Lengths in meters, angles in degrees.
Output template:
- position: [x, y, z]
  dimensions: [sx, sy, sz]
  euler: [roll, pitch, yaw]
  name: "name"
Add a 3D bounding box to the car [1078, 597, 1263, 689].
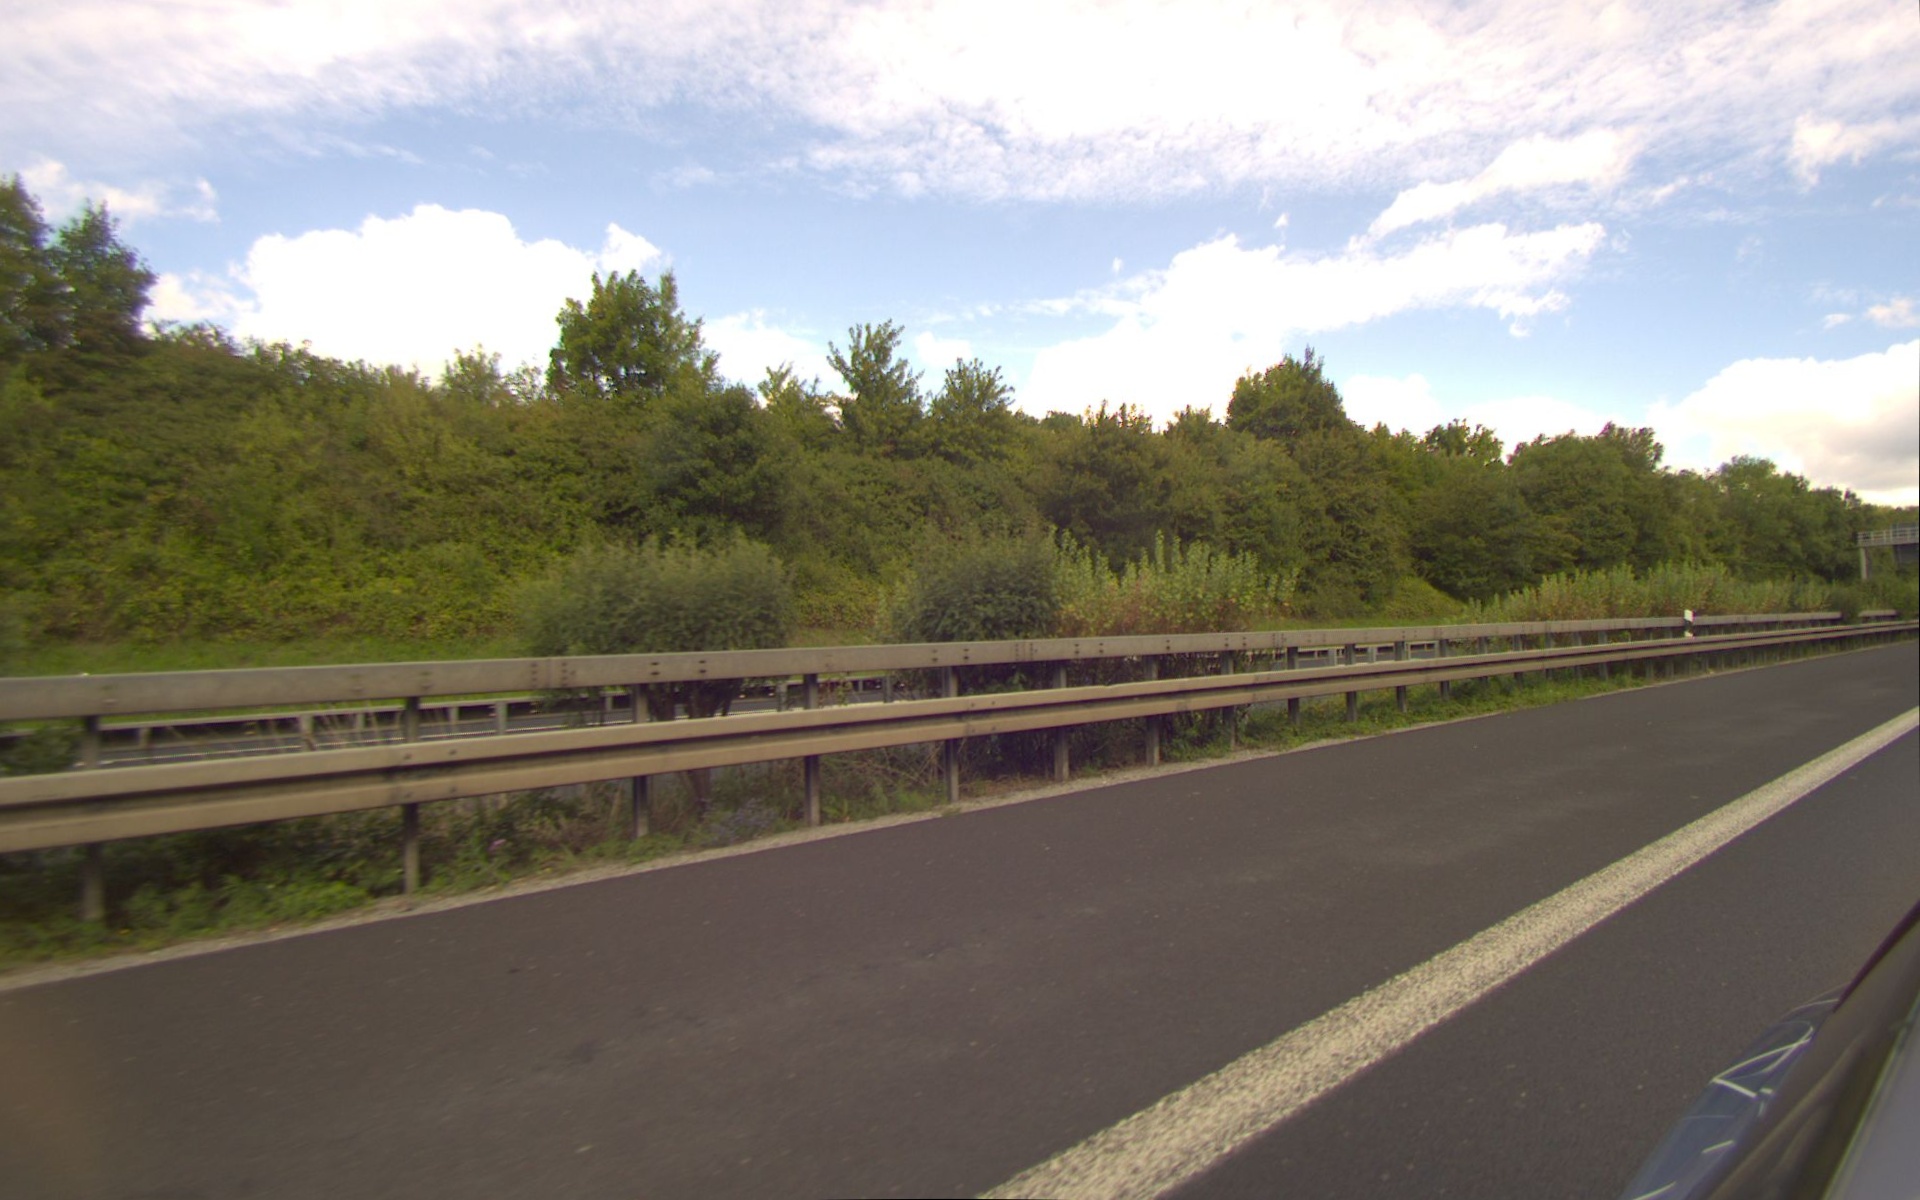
- position: [5.347, 0.977, 25.329]
  dimensions: [4.823, 2.039, 1.997]
  euler: [-1, 0, -40]
  name: "car"
